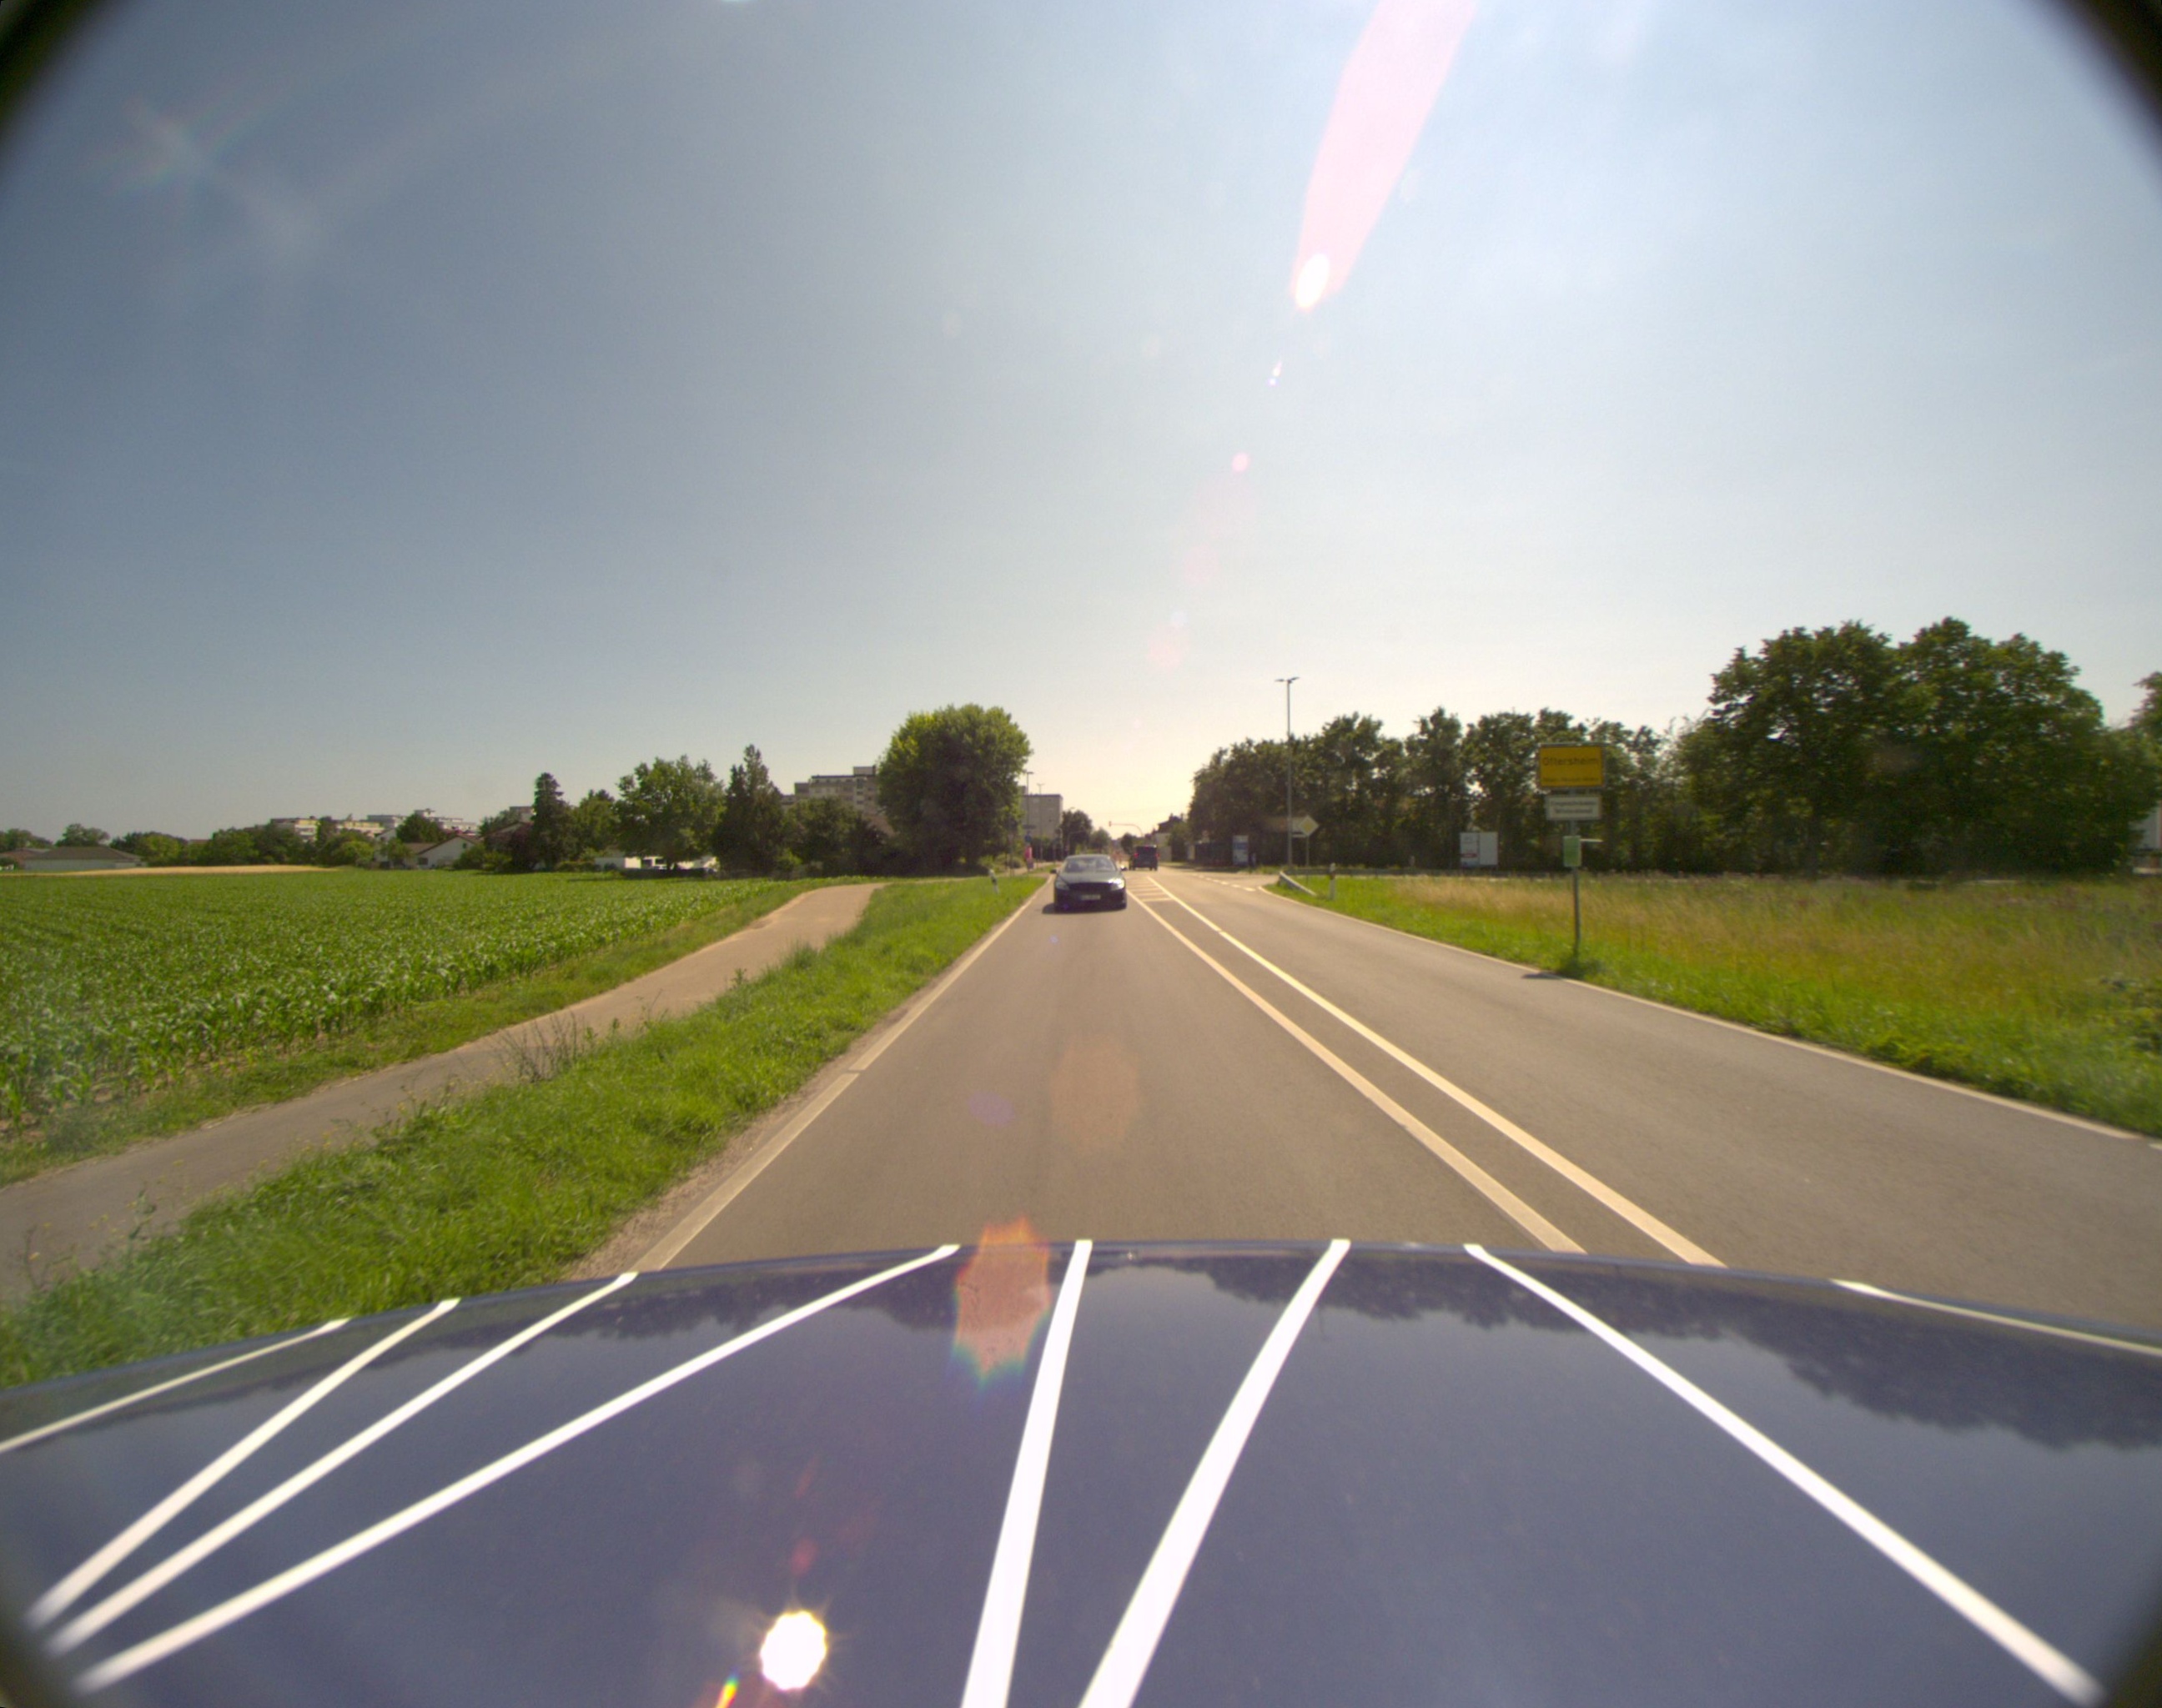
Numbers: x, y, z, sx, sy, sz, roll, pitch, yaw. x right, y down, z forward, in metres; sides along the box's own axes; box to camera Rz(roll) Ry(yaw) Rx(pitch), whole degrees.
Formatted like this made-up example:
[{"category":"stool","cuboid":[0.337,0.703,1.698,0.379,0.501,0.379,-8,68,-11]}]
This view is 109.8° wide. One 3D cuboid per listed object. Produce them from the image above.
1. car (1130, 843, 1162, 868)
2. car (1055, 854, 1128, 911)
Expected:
[{"category":"car","cuboid":[5.203,0.122,61.626,2.149,1.940,5.247,0,0,1]},{"category":"car","cuboid":[0.241,0.756,22.651,1.889,1.429,4.837,-2,0,-1]}]
